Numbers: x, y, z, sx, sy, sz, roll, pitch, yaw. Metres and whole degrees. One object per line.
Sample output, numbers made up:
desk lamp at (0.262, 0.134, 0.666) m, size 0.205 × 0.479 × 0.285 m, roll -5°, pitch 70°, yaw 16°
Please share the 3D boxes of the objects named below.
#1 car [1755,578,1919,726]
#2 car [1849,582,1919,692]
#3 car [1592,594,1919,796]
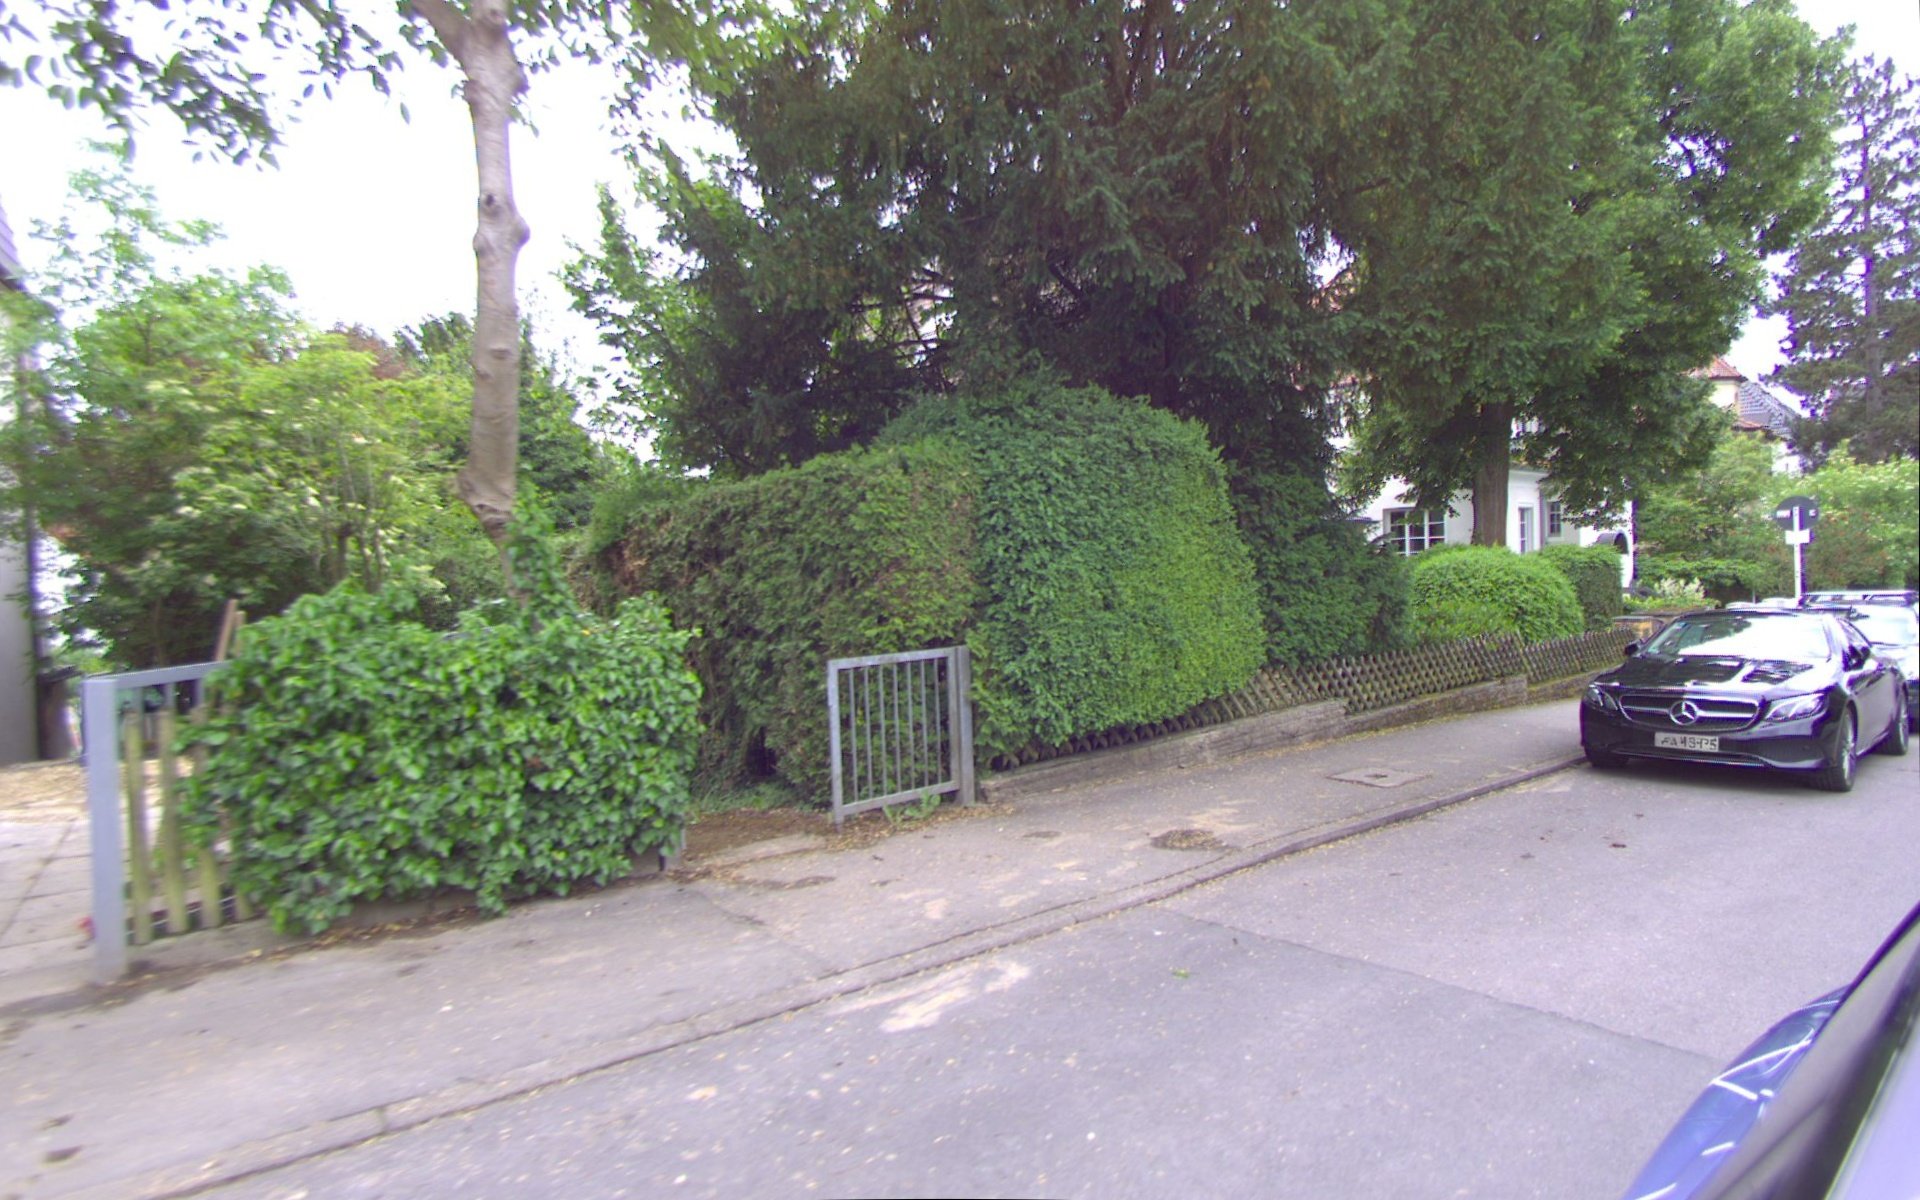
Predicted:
car at (11.554, 0.527, 12.777) m, size 4.235 × 1.590 × 1.700 m, roll -1°, pitch 1°, yaw -42°
car at (15.902, 0.519, 16.479) m, size 4.499 × 1.626 × 1.758 m, roll -1°, pitch -1°, yaw -44°
car at (7.697, 0.696, 9.501) m, size 4.578 × 1.442 × 1.655 m, roll -1°, pitch -1°, yaw -40°
